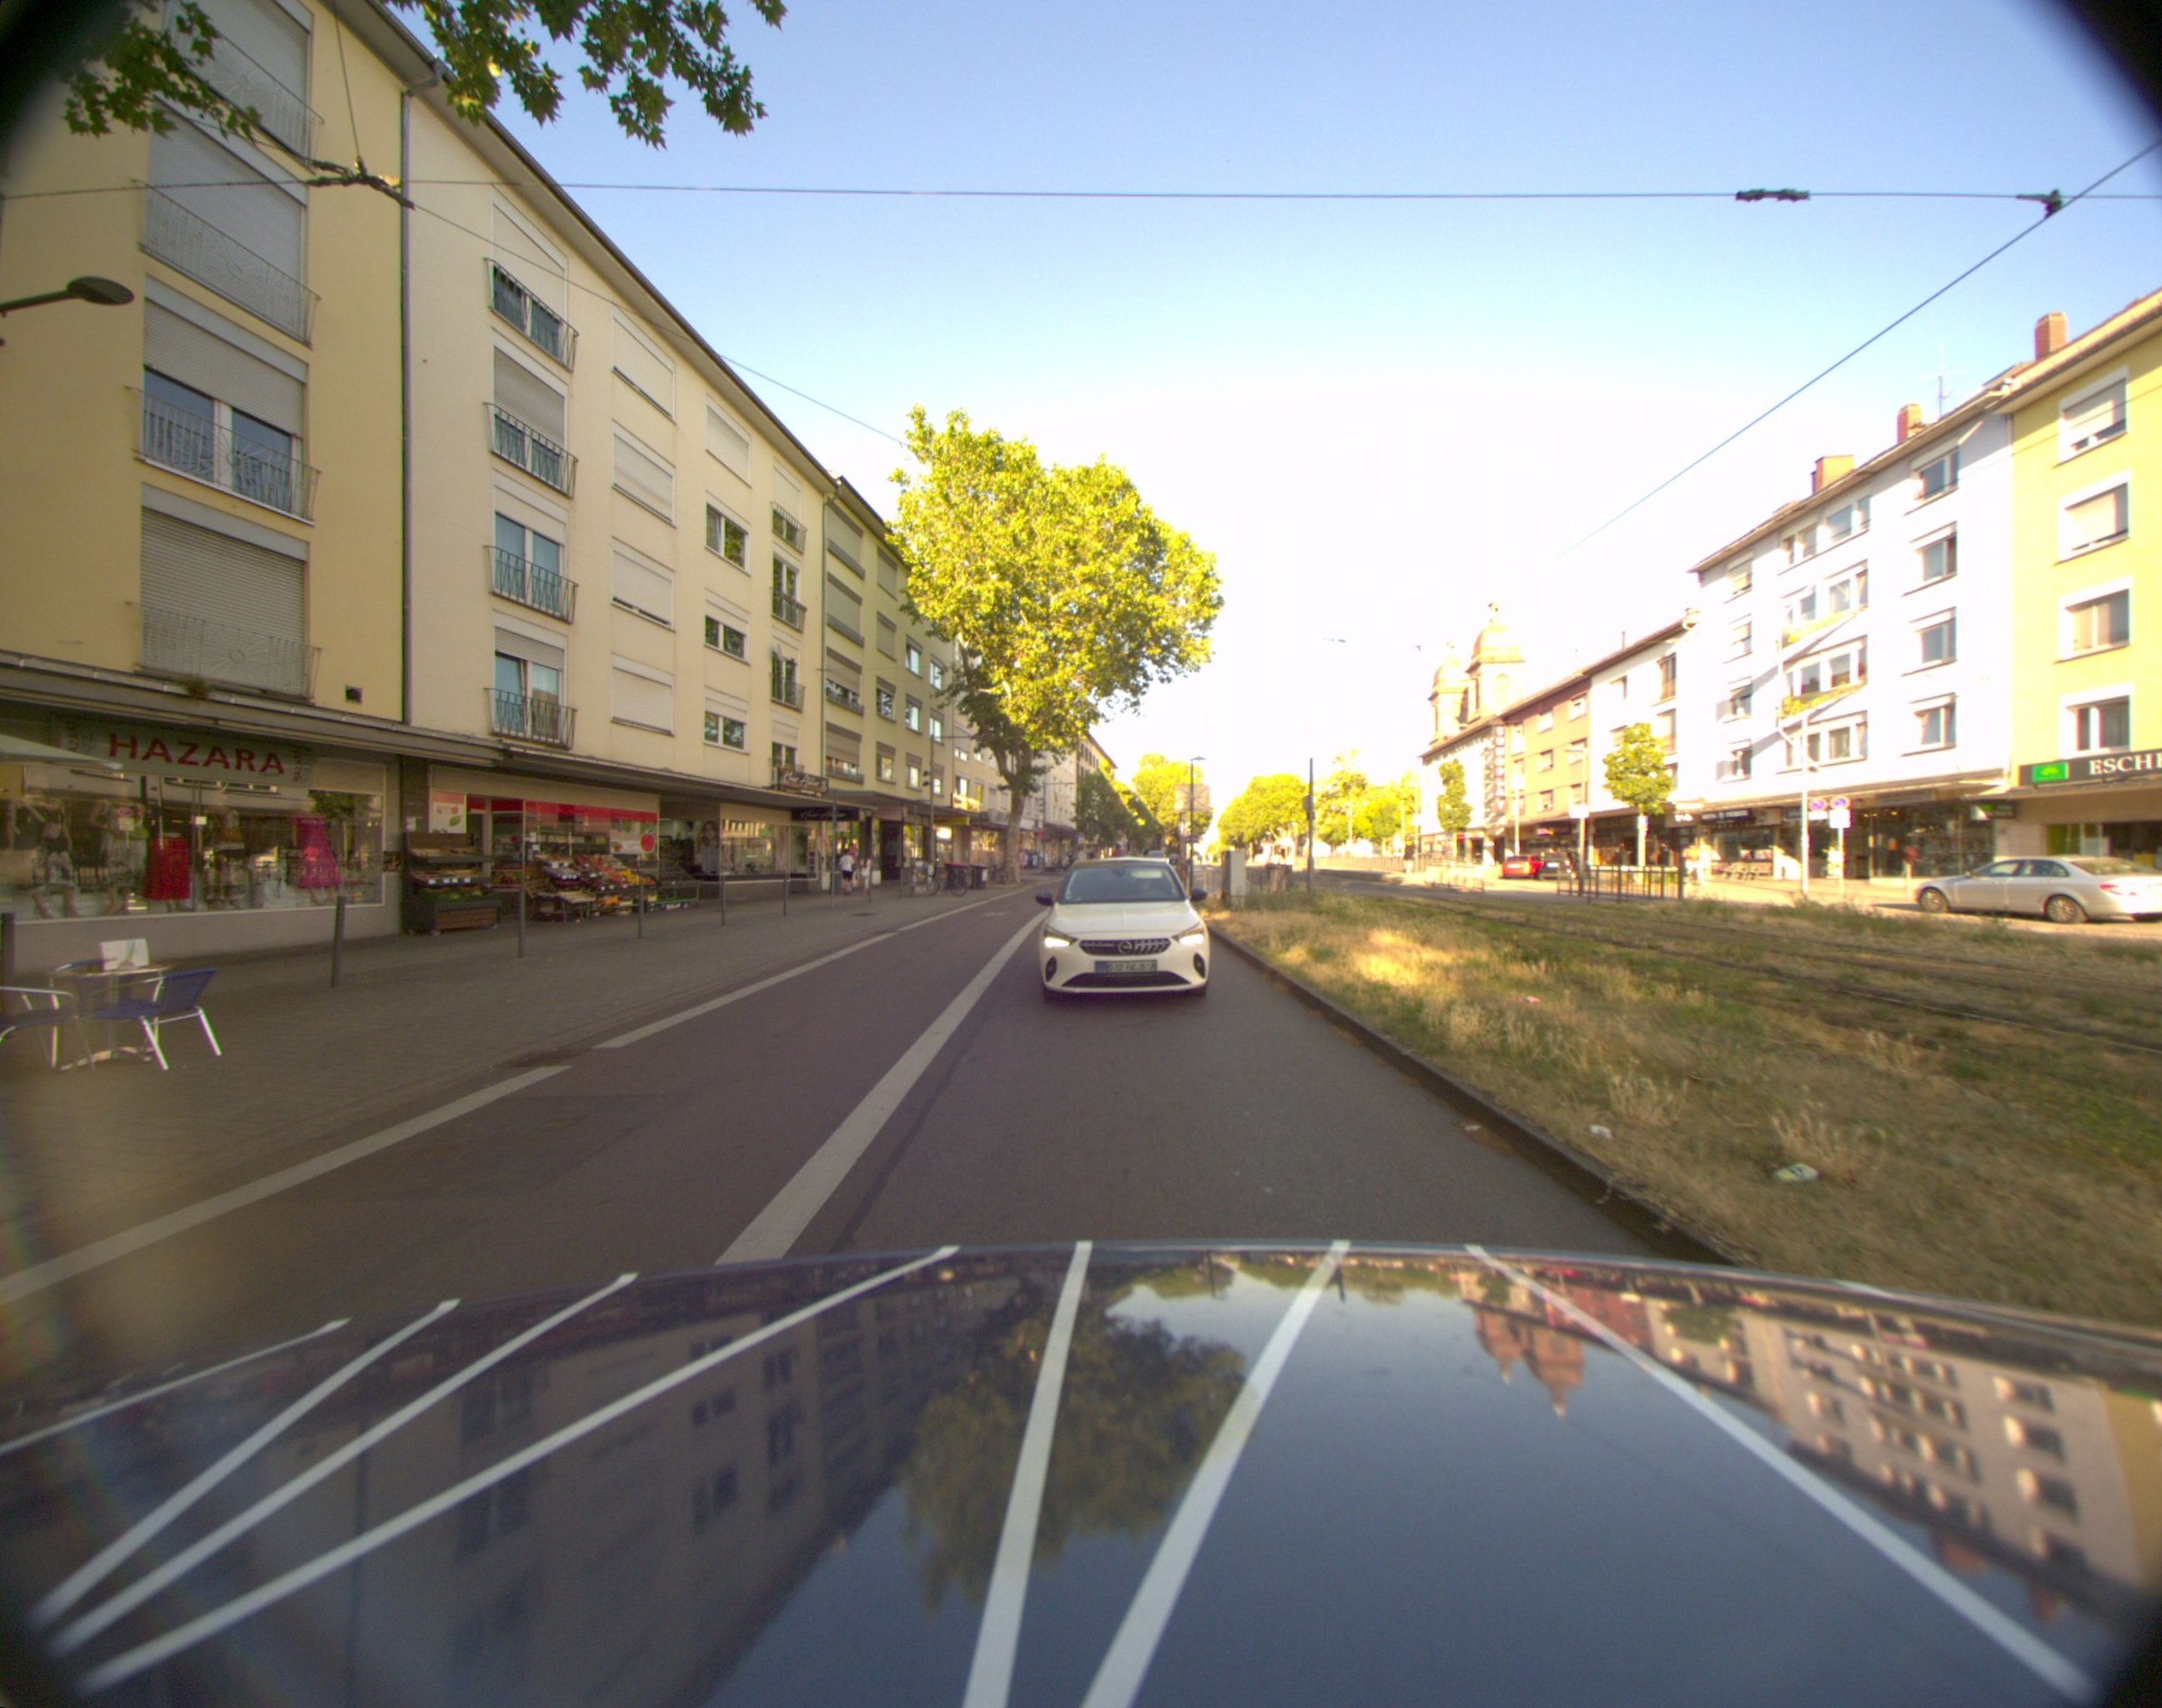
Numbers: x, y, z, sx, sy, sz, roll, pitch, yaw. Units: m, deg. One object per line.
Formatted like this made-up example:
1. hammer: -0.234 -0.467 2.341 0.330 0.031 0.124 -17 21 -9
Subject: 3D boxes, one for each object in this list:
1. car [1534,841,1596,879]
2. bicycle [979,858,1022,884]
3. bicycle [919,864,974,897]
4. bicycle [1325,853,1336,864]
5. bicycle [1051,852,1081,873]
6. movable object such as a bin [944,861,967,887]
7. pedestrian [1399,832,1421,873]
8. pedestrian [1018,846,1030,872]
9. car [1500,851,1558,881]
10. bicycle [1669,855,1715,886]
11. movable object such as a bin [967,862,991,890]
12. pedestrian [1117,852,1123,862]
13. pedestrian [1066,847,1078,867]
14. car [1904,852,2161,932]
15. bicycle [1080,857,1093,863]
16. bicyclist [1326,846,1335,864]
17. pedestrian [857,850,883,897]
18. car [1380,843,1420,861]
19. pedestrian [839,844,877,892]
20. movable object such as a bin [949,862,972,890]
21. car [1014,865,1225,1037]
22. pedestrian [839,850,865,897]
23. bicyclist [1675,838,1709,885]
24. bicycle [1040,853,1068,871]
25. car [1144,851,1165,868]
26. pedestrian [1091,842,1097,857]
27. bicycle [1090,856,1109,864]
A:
1. car: 25.831 0.318 40.486 3.777 1.789 1.859 -3 1 -43
2. bicycle: -3.582 0.744 33.916 1.721 1.111 0.745 0 4 8
3. bicycle: -4.892 0.954 27.634 1.909 1.098 0.519 2 1 14
4. bicycle: 27.997 0.501 85.403 0.719 1.223 2.279 0 0 7
5. bicycle: -1.043 0.577 52.710 1.788 1.304 0.695 6 2 20
6. movable object such as a bin: -5.353 0.835 32.347 0.722 1.066 0.645 2 2 27
7. pedestrian: 15.043 -0.069 34.766 0.743 1.838 0.590 0 1 3
8. pedestrian: -3.545 0.325 47.452 0.547 1.619 0.896 2 0 9
9. car: 25.602 0.669 43.390 3.777 1.482 1.859 -3 1 -43
10. bicycle: 25.411 0.667 31.639 0.706 1.152 2.201 -3 1 17
11. movable object such as a bin: -4.204 0.896 31.448 0.723 1.096 0.645 4 2 15
12. pedestrian: 6.340 0.438 122.742 0.851 1.645 0.916 -2 1 8
13. pedestrian: -0.809 0.256 67.907 0.774 1.789 0.931 3 1 10
14. car: 21.802 0.750 17.091 1.998 1.469 4.412 -2 0 5
15. bicycle: 0.571 0.622 74.129 0.840 0.569 1.758 1 0 -14
16. bicyclist: 27.988 0.124 85.305 0.765 2.002 0.911 0 1 7
17. pedestrian: -7.259 0.674 26.126 0.636 1.577 0.627 2 1 7
18. car: 29.815 -0.179 71.027 4.007 1.477 1.739 -2 1 -39
19. pedestrian: -8.444 0.527 28.828 0.969 1.753 1.134 1 2 9
20. movable object such as a bin: -4.993 0.899 31.554 0.723 1.066 0.644 5 2 6
21. car: 0.427 0.887 8.602 1.826 1.433 3.828 -1 0 3
22. pedestrian: -7.908 0.658 26.208 0.623 1.577 0.627 2 1 7
23. bicyclist: 25.348 0.292 31.536 0.693 1.876 1.059 -3 1 17
24. bicycle: -1.905 0.537 53.864 1.794 1.118 0.663 4 1 -19
25. car: 6.464 0.454 67.061 1.717 1.390 4.001 -2 0 4
26. pedestrian: 1.441 -0.454 82.080 0.490 1.559 0.649 2 1 10
27. bicycle: 1.824 0.618 73.921 1.762 0.773 0.702 1 0 -14
